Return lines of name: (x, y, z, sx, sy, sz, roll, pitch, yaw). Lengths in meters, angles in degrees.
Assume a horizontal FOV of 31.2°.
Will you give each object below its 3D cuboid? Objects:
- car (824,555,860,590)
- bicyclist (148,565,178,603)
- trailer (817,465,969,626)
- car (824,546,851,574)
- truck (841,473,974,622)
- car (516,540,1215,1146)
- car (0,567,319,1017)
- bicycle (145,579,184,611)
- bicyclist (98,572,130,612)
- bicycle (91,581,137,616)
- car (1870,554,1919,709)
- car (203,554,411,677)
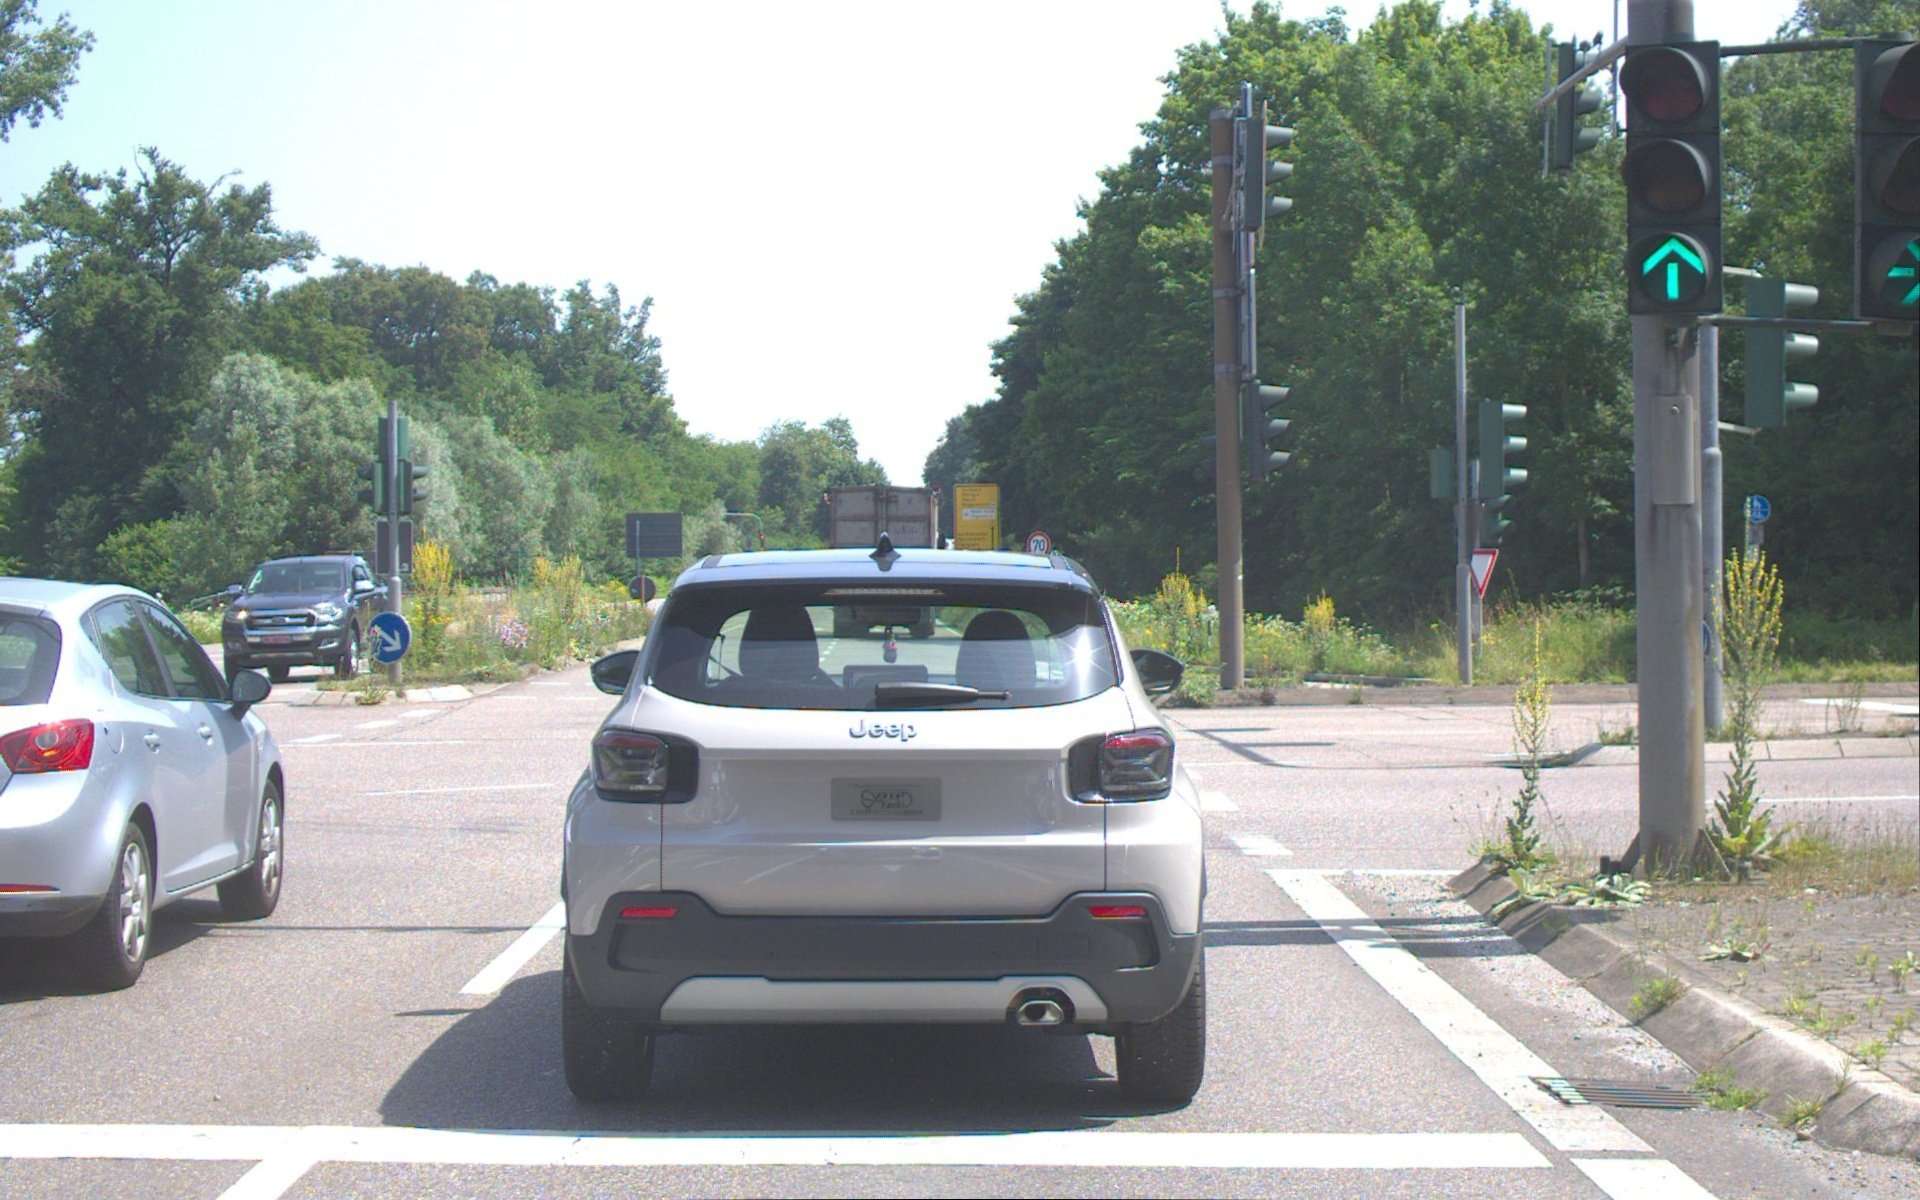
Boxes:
car: (-7.078, -1.660, 205.961, 1.993, 2.007, 4.554, -1, 1, -1)
bicyclist: (-25.427, -0.525, 109.722, 0.735, 1.191, 0.591, -2, 0, 11)
trailer: (-1.662, -1.384, 91.091, 3.383, 3.975, 10.803, 1, 0, 2)
car: (-8.986, -2.947, 252.348, 1.774, 2.007, 4.000, -1, 1, 0)
truck: (-1.419, -1.434, 96.534, 3.333, 3.975, 6.533, 1, 0, 2)
car: (-0.231, 0.594, 10.700, 1.767, 1.529, 4.000, 0, 1, 0)
car: (-3.628, 0.597, 12.981, 1.666, 1.425, 3.828, 1, 1, 0)
bicycle: (-25.371, -0.152, 109.647, 0.604, 1.002, 1.555, -2, 0, 11)
bicyclist: (-25.808, -0.244, 104.890, 0.757, 1.191, 0.592, -2, 1, 10)
bicycle: (-25.810, -0.051, 104.871, 0.676, 1.002, 1.800, -2, 1, 9)
car: (10.946, 0.251, 32.500, 4.091, 1.442, 1.996, -1, 1, -2)
car: (-9.615, 0.188, 51.033, 1.993, 1.672, 5.365, -2, 1, 0)
